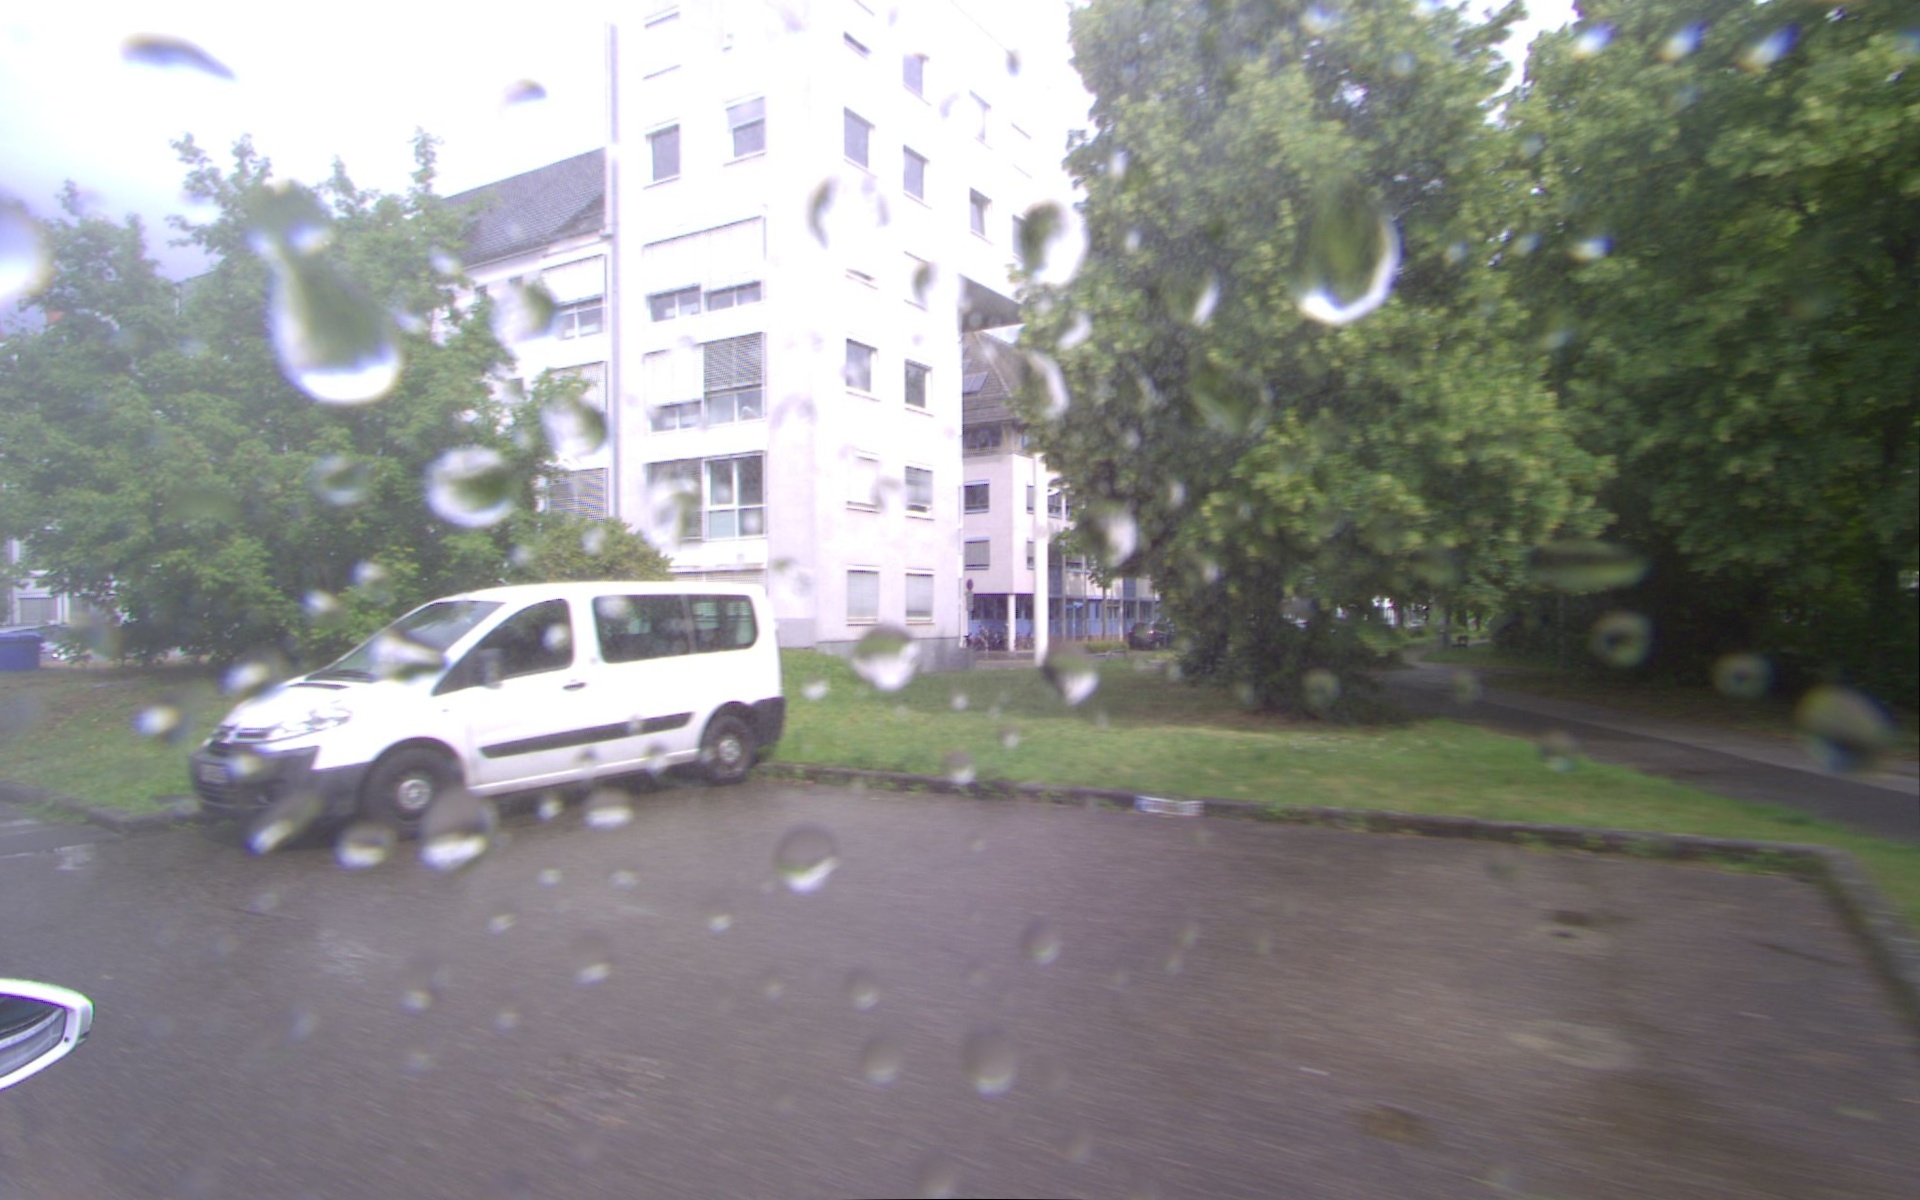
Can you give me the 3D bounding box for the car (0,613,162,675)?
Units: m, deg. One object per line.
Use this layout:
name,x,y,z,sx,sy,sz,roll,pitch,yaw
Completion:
car,-23.957,1.131,26.554,1.780,1.465,3.980,-1,1,30

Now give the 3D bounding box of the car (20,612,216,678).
car,-21.239,1.096,25.380,1.664,1.446,3.408,-1,1,31

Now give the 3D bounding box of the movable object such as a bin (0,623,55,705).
movable object such as a bin,-16.645,1.096,17.281,1.181,1.354,1.288,-1,0,36

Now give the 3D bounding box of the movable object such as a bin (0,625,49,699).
movable object such as a bin,-17.849,1.140,18.562,1.092,1.321,1.182,-1,0,35

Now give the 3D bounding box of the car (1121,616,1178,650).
car,11.412,1.930,60.164,1.971,1.814,4.212,1,1,31

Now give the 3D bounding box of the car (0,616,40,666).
car,-31.237,1.319,30.819,1.791,1.534,3.906,-1,0,26

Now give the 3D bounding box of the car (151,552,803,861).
car,-3.858,0.757,8.921,2.072,1.950,4.860,-1,-2,36

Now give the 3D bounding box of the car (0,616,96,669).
car,-28.252,1.257,29.424,1.746,1.477,3.983,-1,0,28
